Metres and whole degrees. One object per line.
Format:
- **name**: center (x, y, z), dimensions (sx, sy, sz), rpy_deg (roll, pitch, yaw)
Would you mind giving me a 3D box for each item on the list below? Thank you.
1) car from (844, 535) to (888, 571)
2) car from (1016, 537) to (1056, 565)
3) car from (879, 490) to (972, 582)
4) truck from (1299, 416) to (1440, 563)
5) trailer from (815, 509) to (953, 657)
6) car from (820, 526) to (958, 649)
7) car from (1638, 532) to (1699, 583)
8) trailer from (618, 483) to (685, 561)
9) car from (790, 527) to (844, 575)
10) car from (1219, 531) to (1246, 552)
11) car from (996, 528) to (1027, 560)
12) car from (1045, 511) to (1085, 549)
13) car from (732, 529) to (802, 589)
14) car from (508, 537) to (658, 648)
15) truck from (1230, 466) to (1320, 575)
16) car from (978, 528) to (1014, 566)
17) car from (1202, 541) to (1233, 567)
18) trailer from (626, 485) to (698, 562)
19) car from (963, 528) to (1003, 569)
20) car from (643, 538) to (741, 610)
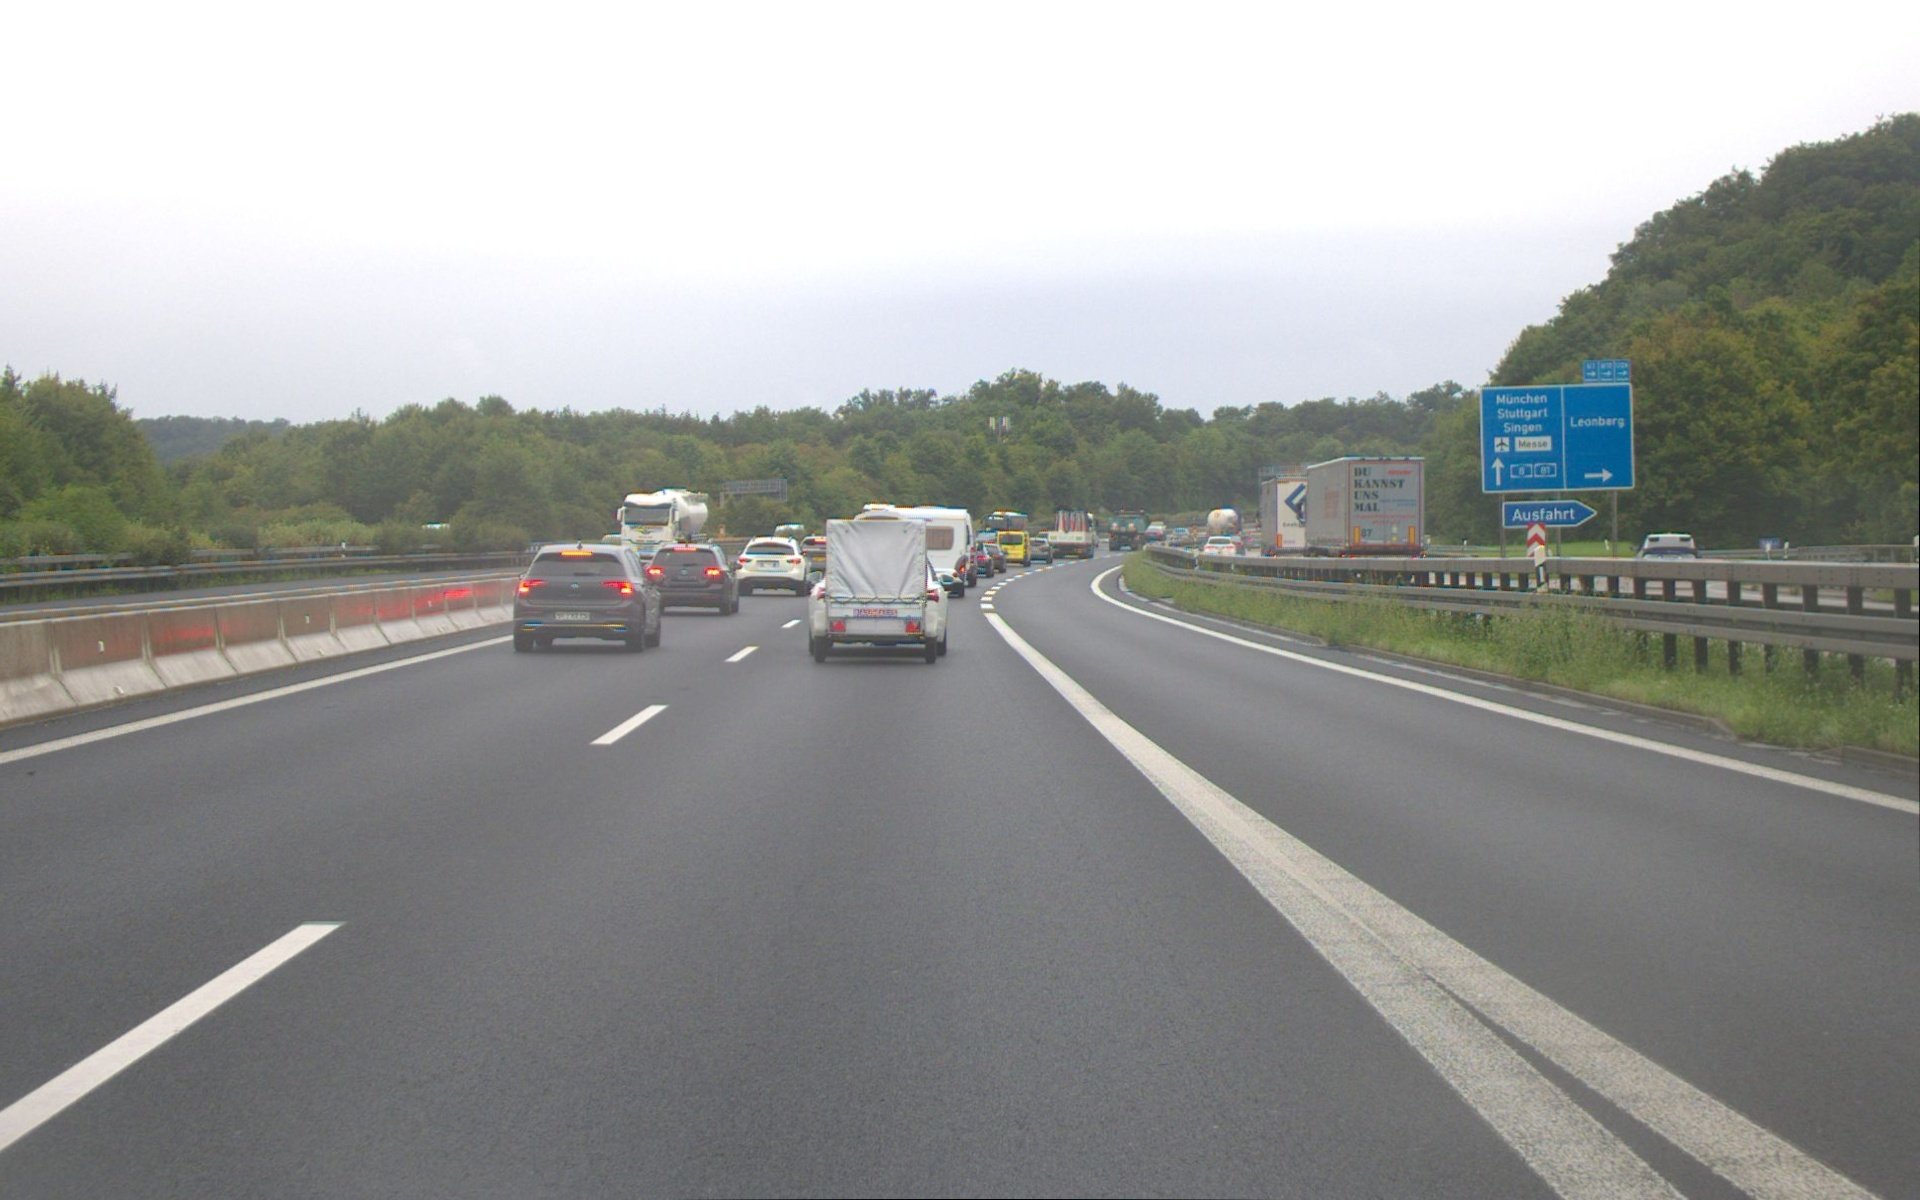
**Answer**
- **car**: center (-4.335, -2.166, 159.093), dimensions (1.776, 1.634, 4.043), rpy_deg (0, 1, 3)
- **car**: center (4.664, -2.981, 210.297), dimensions (2.038, 1.677, 3.999), rpy_deg (0, 1, 7)
- **car**: center (-0.971, -1.841, 100.232), dimensions (2.507, 2.576, 5.699), rpy_deg (0, 1, 1)
- **truck**: center (13.680, -3.594, 116.020), dimensions (3.215, 4.650, 13.033), rpy_deg (0, 1, 0)
- **trailer**: center (-0.946, -0.233, 44.108), dimensions (1.676, 1.806, 4.000), rpy_deg (0, 1, 0)
- **car**: center (-0.937, -0.189, 47.788), dimensions (1.818, 1.610, 4.778), rpy_deg (0, 1, 0)
- **car**: center (20.620, -1.243, 100.086), dimensions (1.676, 1.451, 3.998), rpy_deg (1, 1, 11)
- **trailer**: center (-14.967, -3.769, 167.149), dimensions (2.636, 3.703, 6.492), rpy_deg (0, 1, 0)
- **car**: center (-4.967, -1.691, 119.997), dimensions (1.775, 1.634, 4.043), rpy_deg (0, 1, -1)
- **car**: center (19.003, -4.063, 239.818), dimensions (1.676, 1.451, 4.000), rpy_deg (0, 1, 2)
- **car**: center (2.941, -3.178, 194.842), dimensions (1.676, 1.806, 4.000), rpy_deg (0, 1, 1)
- **car**: center (7.296, -4.843, 238.348), dimensions (2.516, 2.566, 5.311), rpy_deg (0, 1, 4)
- **car**: center (-5.377, -1.138, 96.267), dimensions (1.775, 1.634, 4.043), rpy_deg (0, 1, -1)
- **car**: center (-5.146, -0.124, 47.373), dimensions (1.675, 1.451, 4.000), rpy_deg (0, 1, -1)
- **truck**: center (14.095, -3.506, 154.800), dimensions (3.216, 4.650, 13.032), rpy_deg (0, 1, 2)
- **car**: center (1.742, -2.564, 167.377), dimensions (1.676, 1.806, 4.000), rpy_deg (0, 1, 1)
- **car**: center (14.738, -2.628, 196.975), dimensions (1.676, 1.451, 4.000), rpy_deg (0, 1, 3)
- **trailer**: center (-14.939, -3.801, 172.952), dimensions (2.636, 3.723, 10.811), rpy_deg (0, 1, 0)
- **car**: center (1.039, -2.277, 151.902), dimensions (1.676, 1.806, 4.000), rpy_deg (0, 1, 1)
- **car**: center (-5.529, -0.547, 71.256), dimensions (1.765, 1.451, 4.000), rpy_deg (0, 1, -1)
